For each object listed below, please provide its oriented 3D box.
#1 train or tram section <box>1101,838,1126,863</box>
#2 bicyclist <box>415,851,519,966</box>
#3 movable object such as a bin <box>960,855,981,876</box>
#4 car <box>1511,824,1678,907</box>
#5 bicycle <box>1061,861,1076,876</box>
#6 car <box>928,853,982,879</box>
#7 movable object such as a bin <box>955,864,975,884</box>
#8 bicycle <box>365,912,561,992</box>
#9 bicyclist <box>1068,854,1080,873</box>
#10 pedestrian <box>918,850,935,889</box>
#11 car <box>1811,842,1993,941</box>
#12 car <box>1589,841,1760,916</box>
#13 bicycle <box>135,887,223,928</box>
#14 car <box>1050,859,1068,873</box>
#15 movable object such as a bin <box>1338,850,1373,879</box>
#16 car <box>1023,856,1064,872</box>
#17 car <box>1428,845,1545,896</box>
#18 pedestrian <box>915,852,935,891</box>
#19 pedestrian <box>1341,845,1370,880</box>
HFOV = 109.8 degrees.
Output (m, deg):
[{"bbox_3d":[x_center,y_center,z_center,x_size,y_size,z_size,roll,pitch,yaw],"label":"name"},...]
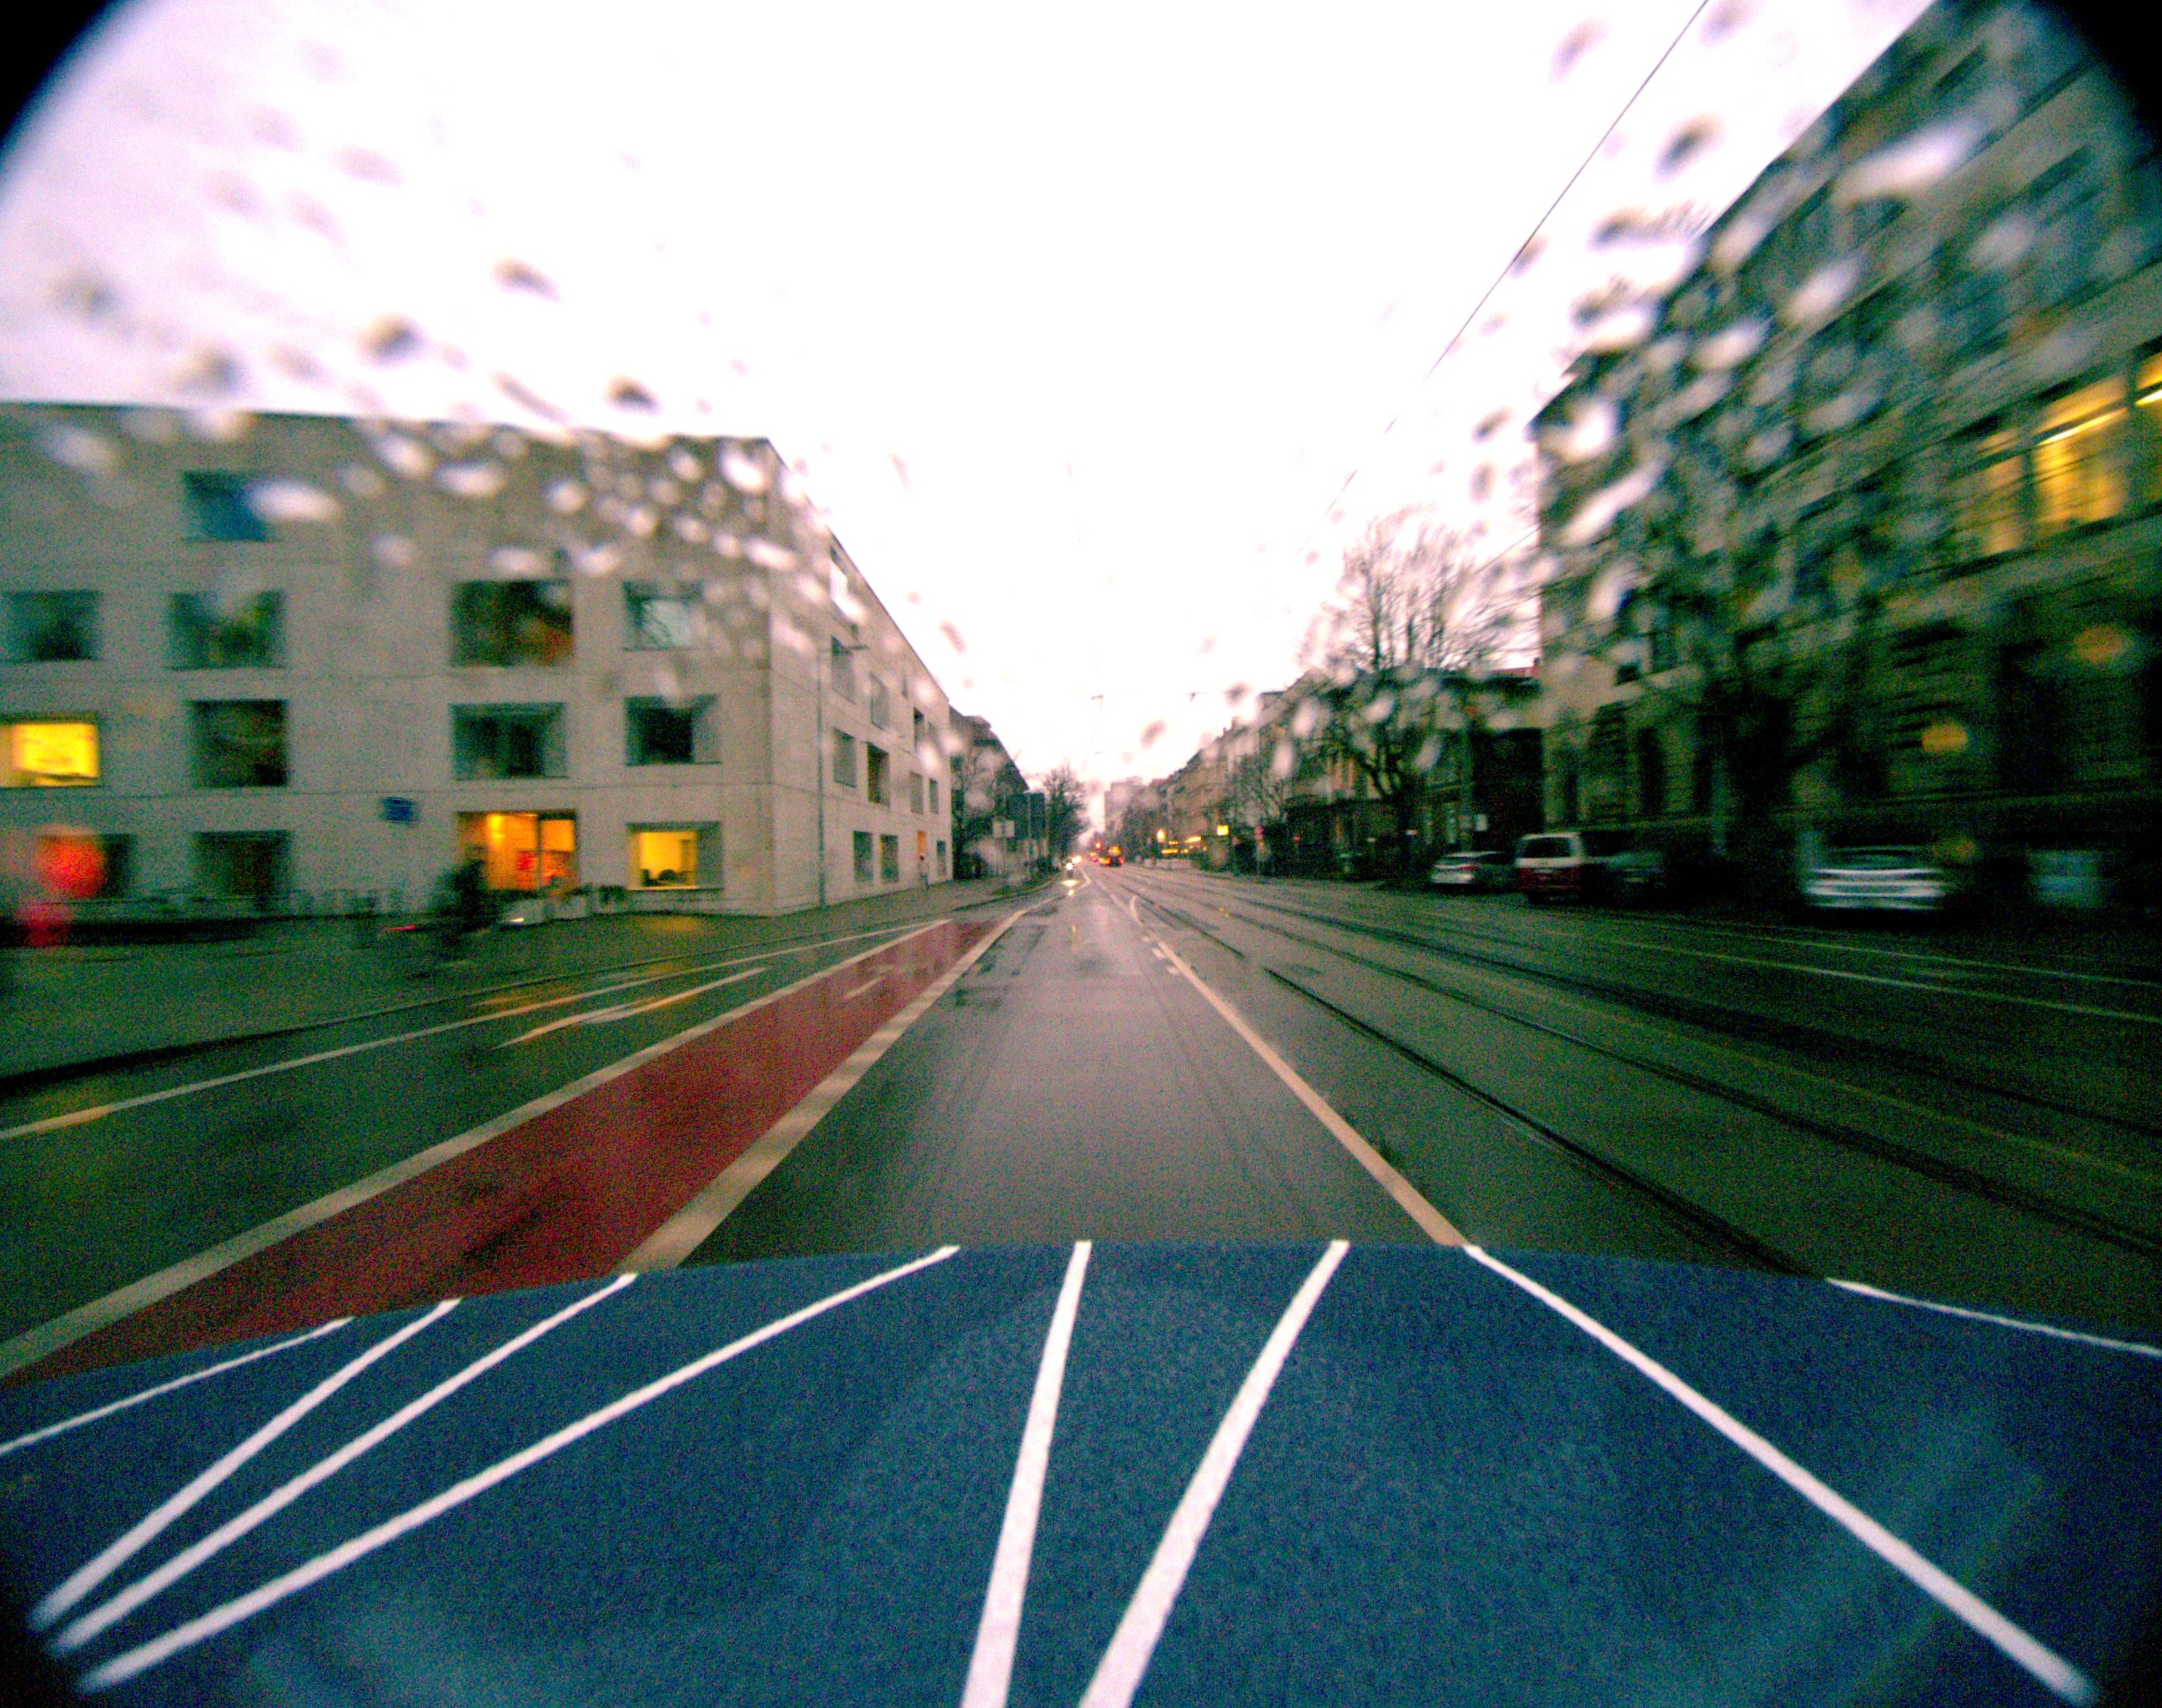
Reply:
[{"bbox_3d":[5.280,-0.594,129.731,2.885,3.715,27.330,-3,0,0],"label":"train or tram section"},{"bbox_3d":[-8.828,0.755,10.951,0.856,1.586,0.781,1,1,5],"label":"bicyclist"},{"bbox_3d":[-7.706,0.817,53.255,1.259,1.437,1.419,0,1,0],"label":"movable object such as a bin"},{"bbox_3d":[14.821,0.278,21.893,4.628,2.041,1.962,-3,1,-27],"label":"car"},{"bbox_3d":[-0.867,1.058,54.877,0.723,1.083,2.287,-2,-1,7],"label":"bicycle"},{"bbox_3d":[-8.841,0.844,53.402,3.458,1.637,1.731,-3,1,0],"label":"car"},{"bbox_3d":[-8.489,1.444,55.760,1.260,1.437,1.418,0,1,-2],"label":"movable object such as a bin"},{"bbox_3d":[-8.928,1.391,11.038,2.120,0.938,0.944,2,1,4],"label":"bicycle"},{"bbox_3d":[-0.493,0.714,55.455,0.716,1.335,0.720,-3,1,7],"label":"bicyclist"},{"bbox_3d":[-7.412,0.739,36.495,0.657,1.849,0.659,0,1,2],"label":"pedestrian"},{"bbox_3d":[15.025,0.598,13.859,3.833,1.449,1.633,-3,1,-33],"label":"car"},{"bbox_3d":[14.744,0.560,18.854,3.982,1.530,1.820,-3,1,-27],"label":"car"},{"bbox_3d":[-24.198,1.410,20.424,0.408,0.974,1.555,-1,1,3],"label":"bicycle"},{"bbox_3d":[-2.542,1.418,89.393,1.658,1.507,3.502,-3,0,4],"label":"car"},{"bbox_3d":[14.232,0.549,39.386,0.988,1.456,1.341,-3,1,-37],"label":"movable object such as a bin"},{"bbox_3d":[-3.931,1.026,78.711,3.859,1.421,1.860,-3,1,-17],"label":"car"},{"bbox_3d":[14.866,0.556,27.807,4.190,1.581,1.771,-3,1,-29],"label":"car"},{"bbox_3d":[-7.471,0.811,36.477,0.773,1.848,0.718,0,1,2],"label":"pedestrian"},{"bbox_3d":[13.770,0.426,38.150,0.924,1.693,0.946,-3,1,-22],"label":"pedestrian"}]
